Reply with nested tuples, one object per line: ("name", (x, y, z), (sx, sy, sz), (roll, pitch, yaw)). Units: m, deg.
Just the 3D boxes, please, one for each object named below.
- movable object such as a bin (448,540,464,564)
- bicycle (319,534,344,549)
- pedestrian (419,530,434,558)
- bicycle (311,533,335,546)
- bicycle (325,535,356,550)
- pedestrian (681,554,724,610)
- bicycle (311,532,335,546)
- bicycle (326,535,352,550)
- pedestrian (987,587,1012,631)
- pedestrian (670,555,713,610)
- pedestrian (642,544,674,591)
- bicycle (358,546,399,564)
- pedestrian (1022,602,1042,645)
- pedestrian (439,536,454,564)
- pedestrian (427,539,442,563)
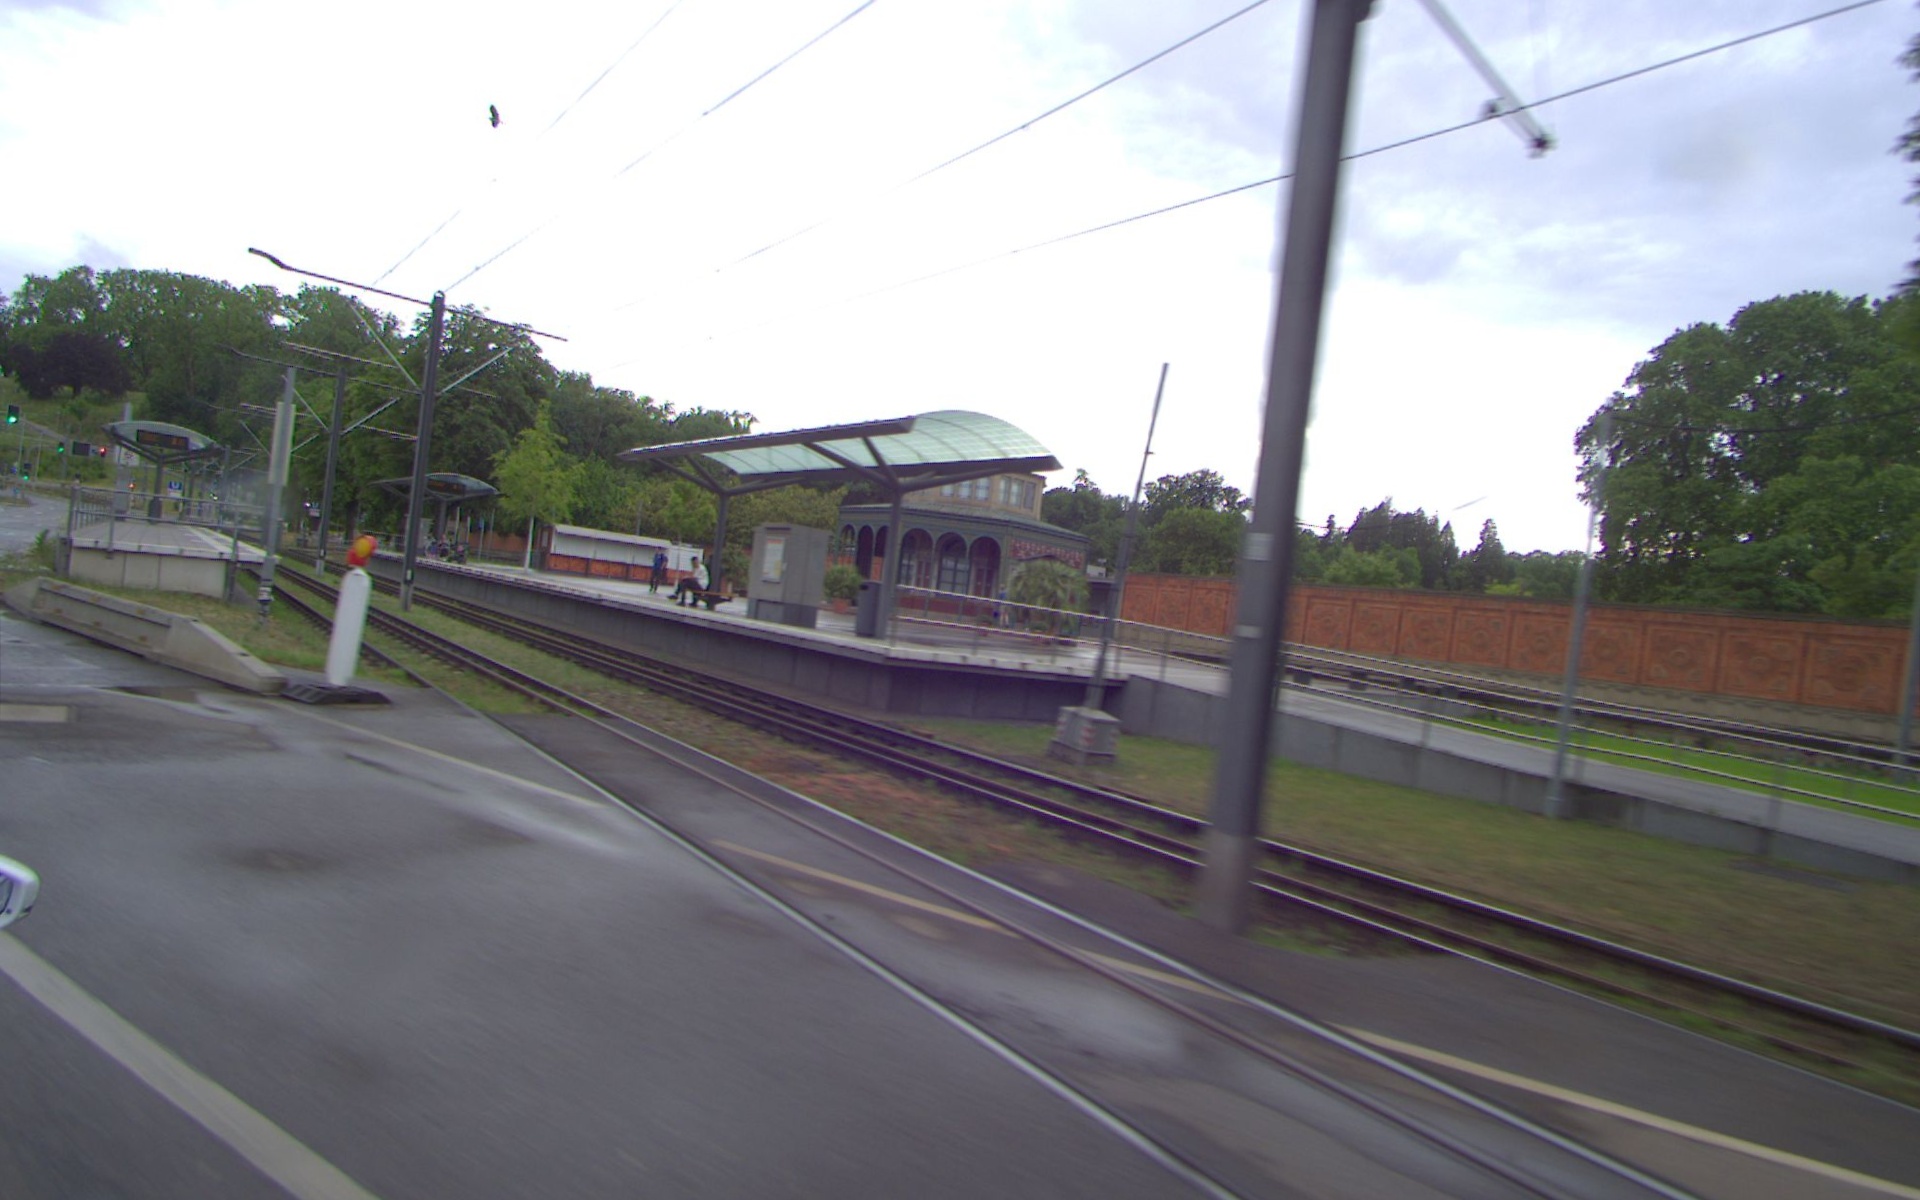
("movable object such as a bin", (-23.122, -2.191, 46.151), (0.435, 1.021, 0.674), (5, 1, -38))
("bicycle", (-57.114, -5.316, 91.399), (1.803, 1.045, 0.645), (7, 1, -42))
("pedestrian", (-24.465, -2.583, 46.143), (0.435, 1.241, 0.545), (5, 1, -38))
("bicycle", (-59.646, -5.660, 94.200), (1.803, 1.045, 0.645), (7, 1, -42))
("bicycle", (-54.776, -5.052, 88.936), (2.214, 1.045, 0.681), (7, 1, -42))
("pedestrian", (-6.217, -0.440, 24.313), (0.518, 1.225, 0.773), (12, -5, -43))
("bicycle", (-60.550, -5.768, 95.587), (1.803, 1.045, 0.645), (7, 1, -42))
("bicycle", (-55.319, -5.132, 89.606), (1.803, 1.045, 0.645), (7, 1, -42))
("pedestrian", (1.610, 0.366, 40.921), (0.527, 1.729, 0.691), (9, -3, -28))
("pedestrian", (-6.208, -0.407, 23.250), (0.512, 1.130, 0.601), (7, -4, 35))
("pedestrian", (-12.277, -1.330, 40.938), (0.717, 1.813, 1.169), (5, 2, -39))
("bicycle", (-40.075, -3.099, 69.372), (2.312, 0.969, 0.563), (6, 1, -41))
("pedestrian", (2.902, 0.947, 40.735), (0.542, 1.676, 0.469), (7, -1, -5))
("pedestrian", (-23.922, -2.310, 46.844), (0.435, 1.241, 0.545), (5, 1, -38))
("pedestrian", (-23.850, -2.237, 45.648), (0.435, 1.021, 0.545), (5, 1, -38))
